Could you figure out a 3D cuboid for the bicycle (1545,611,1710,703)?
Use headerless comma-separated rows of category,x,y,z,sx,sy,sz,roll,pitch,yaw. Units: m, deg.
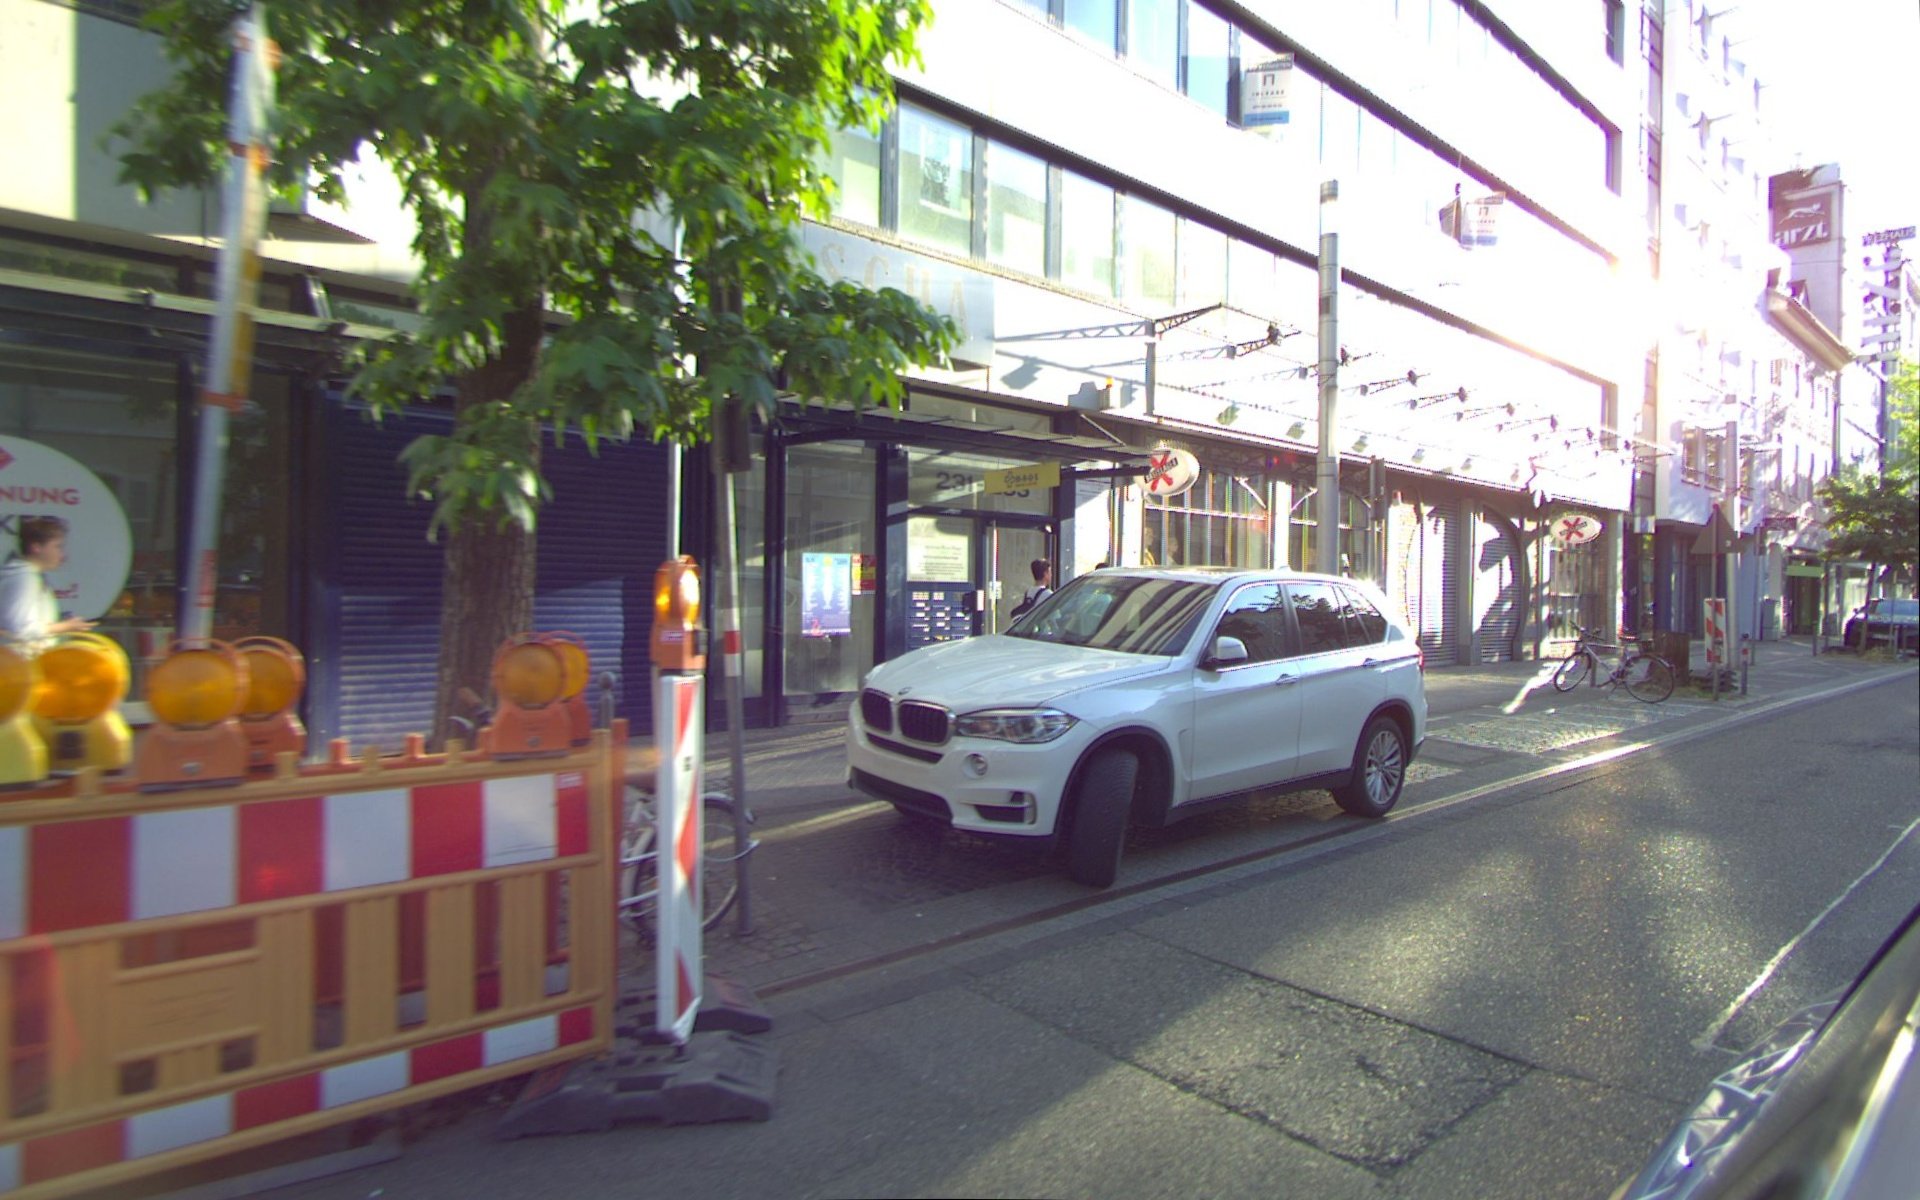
bicycle,9.778,0.796,14.891,0.824,1.148,1.821,-1,3,-32

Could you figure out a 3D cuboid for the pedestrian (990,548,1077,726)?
pedestrian,0.798,0.382,11.005,0.623,1.853,0.689,0,0,-40

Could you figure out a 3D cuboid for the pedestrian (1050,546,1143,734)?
pedestrian,1.414,0.390,10.491,0.623,1.853,0.706,0,0,-40

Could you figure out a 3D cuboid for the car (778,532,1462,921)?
car,1.378,0.532,6.989,4.822,1.758,2.027,0,3,-42

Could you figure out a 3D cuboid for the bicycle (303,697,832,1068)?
bicycle,-1.434,0.965,3.999,1.897,0.994,0.493,0,1,-42

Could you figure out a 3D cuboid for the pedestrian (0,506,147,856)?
pedestrian,-5.390,0.432,5.951,0.901,1.921,0.836,1,1,-37

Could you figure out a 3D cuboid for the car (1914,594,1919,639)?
car,34.928,0.614,35.569,1.865,1.529,4.180,4,3,42

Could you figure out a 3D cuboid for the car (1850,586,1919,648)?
car,28.891,0.494,30.771,4.787,1.709,1.985,0,3,-40
